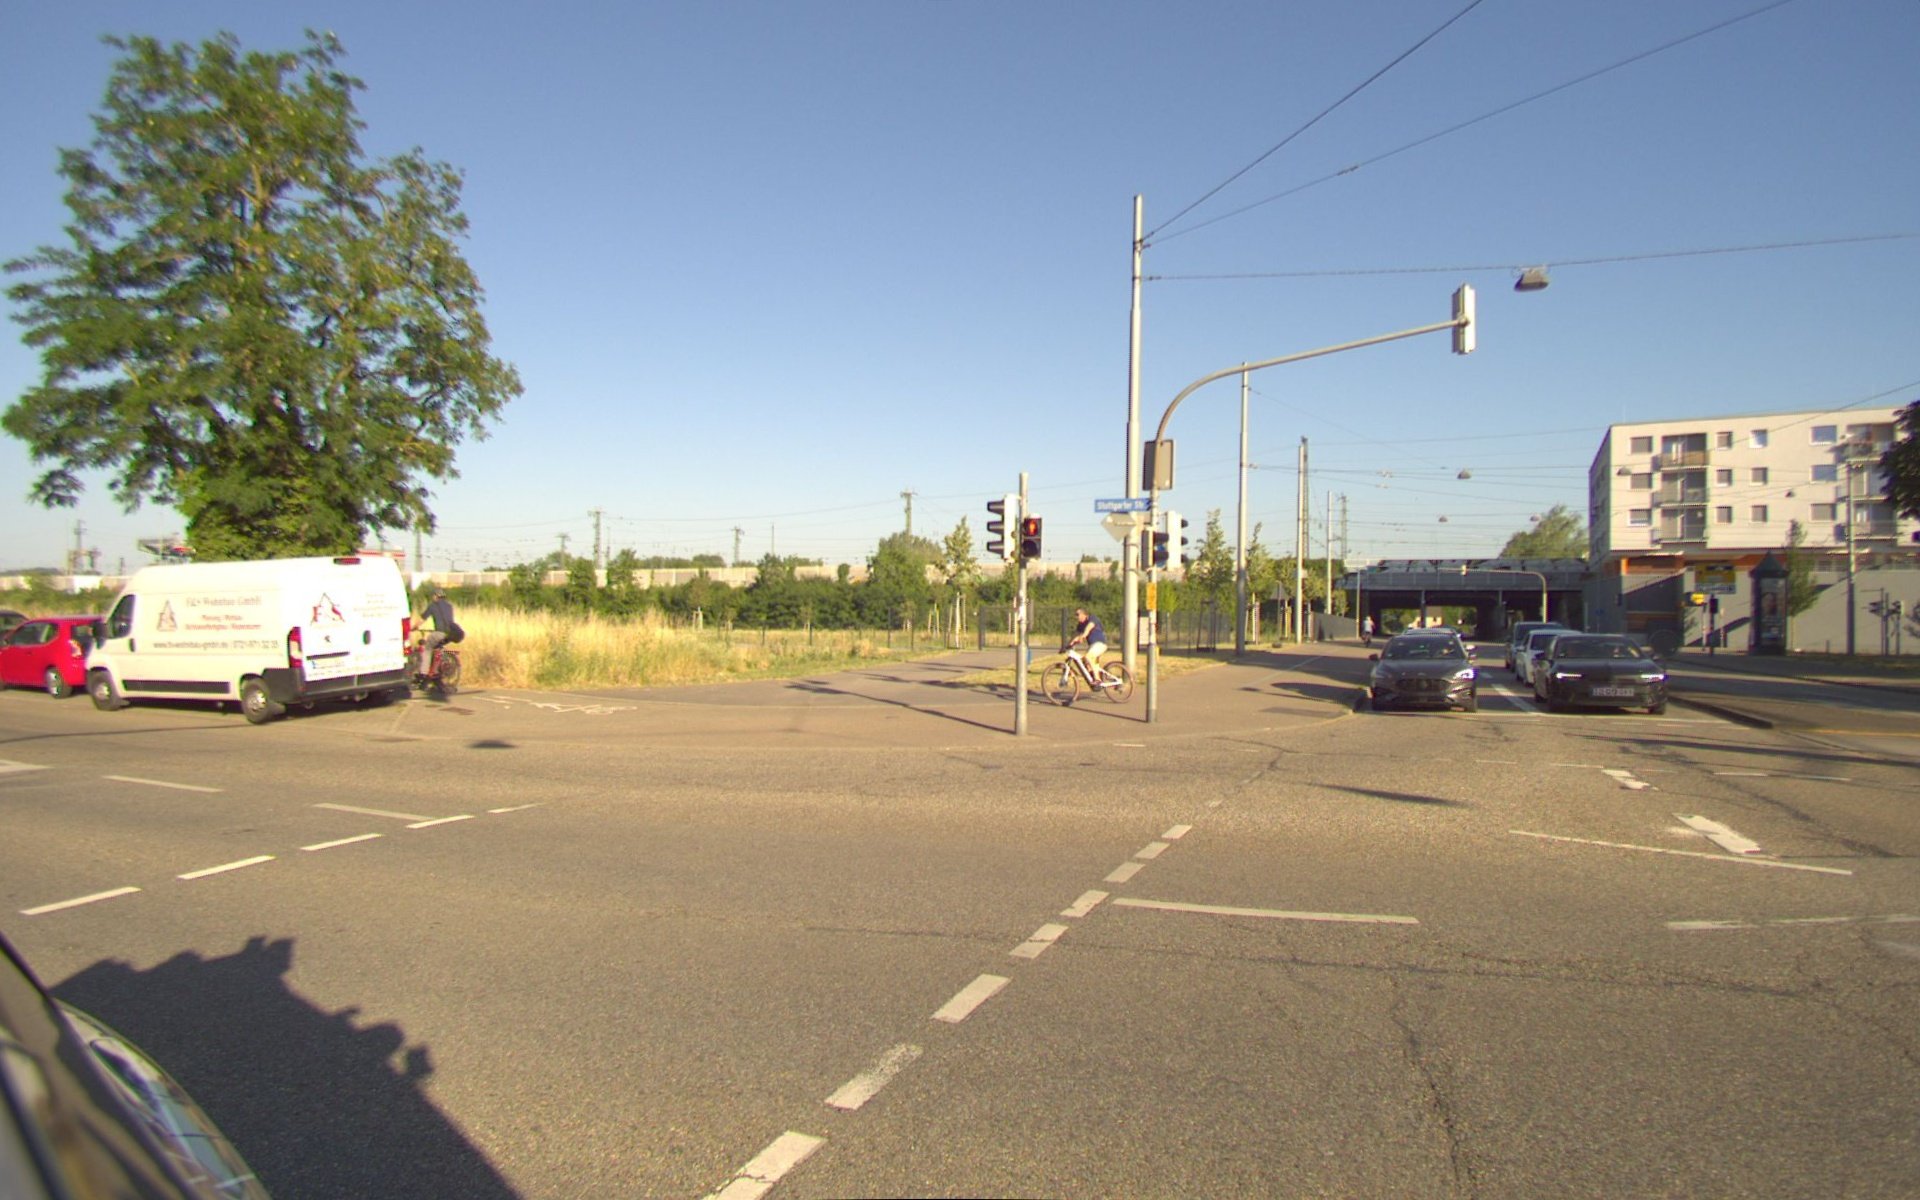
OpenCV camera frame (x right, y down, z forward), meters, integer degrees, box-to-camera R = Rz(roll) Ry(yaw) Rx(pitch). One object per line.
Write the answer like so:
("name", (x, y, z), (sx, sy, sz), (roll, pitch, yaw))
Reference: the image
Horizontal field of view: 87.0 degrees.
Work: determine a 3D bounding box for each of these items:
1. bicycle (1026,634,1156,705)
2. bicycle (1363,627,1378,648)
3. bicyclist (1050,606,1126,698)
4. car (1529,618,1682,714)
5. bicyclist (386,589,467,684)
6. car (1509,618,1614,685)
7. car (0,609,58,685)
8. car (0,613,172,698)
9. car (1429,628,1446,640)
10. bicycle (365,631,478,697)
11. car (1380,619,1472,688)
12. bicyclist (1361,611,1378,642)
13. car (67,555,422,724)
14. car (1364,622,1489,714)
("bicycle", (2.308, 1.188, 17.702), (2.253, 1.158, 0.795), (1, -1, -32))
("bicycle", (21.457, 1.934, 52.914), (0.660, 1.077, 2.002), (0, -1, 25))
("bicyclist", (2.250, 0.898, 17.809), (1.004, 1.559, 0.855), (1, -1, -32))
("car", (12.101, 1.145, 19.253), (2.044, 1.579, 4.409), (0, -1, 27))
("bicyclist", (-9.557, 0.639, 18.149), (0.966, 1.637, 0.872), (0, -1, 23))
("car", (15.667, 1.266, 26.563), (1.989, 1.579, 4.417), (0, -1, 26))
("car", (-21.259, 0.961, 21.479), (3.793, 1.541, 1.733), (0, -1, 24))
("car", (-17.333, 1.007, 19.614), (3.671, 1.498, 1.733), (0, -1, 24))
("car", (67.017, 4.770, 141.984), (1.990, 1.716, 3.963), (0, -1, 27))
("bicycle", (-9.675, 1.127, 18.180), (1.937, 1.101, 0.748), (0, -1, 24))
("car", (11.988, 1.298, 25.991), (1.989, 1.579, 4.237), (0, -1, 26))
("bicyclist", (21.408, 1.385, 52.918), (0.773, 1.618, 0.850), (0, -1, 25))
("car", (-11.843, 0.532, 16.746), (5.525, 2.454, 2.220), (0, 2, 23))
("car", (9.159, 1.226, 19.834), (1.989, 1.579, 4.237), (-1, -1, 26))
